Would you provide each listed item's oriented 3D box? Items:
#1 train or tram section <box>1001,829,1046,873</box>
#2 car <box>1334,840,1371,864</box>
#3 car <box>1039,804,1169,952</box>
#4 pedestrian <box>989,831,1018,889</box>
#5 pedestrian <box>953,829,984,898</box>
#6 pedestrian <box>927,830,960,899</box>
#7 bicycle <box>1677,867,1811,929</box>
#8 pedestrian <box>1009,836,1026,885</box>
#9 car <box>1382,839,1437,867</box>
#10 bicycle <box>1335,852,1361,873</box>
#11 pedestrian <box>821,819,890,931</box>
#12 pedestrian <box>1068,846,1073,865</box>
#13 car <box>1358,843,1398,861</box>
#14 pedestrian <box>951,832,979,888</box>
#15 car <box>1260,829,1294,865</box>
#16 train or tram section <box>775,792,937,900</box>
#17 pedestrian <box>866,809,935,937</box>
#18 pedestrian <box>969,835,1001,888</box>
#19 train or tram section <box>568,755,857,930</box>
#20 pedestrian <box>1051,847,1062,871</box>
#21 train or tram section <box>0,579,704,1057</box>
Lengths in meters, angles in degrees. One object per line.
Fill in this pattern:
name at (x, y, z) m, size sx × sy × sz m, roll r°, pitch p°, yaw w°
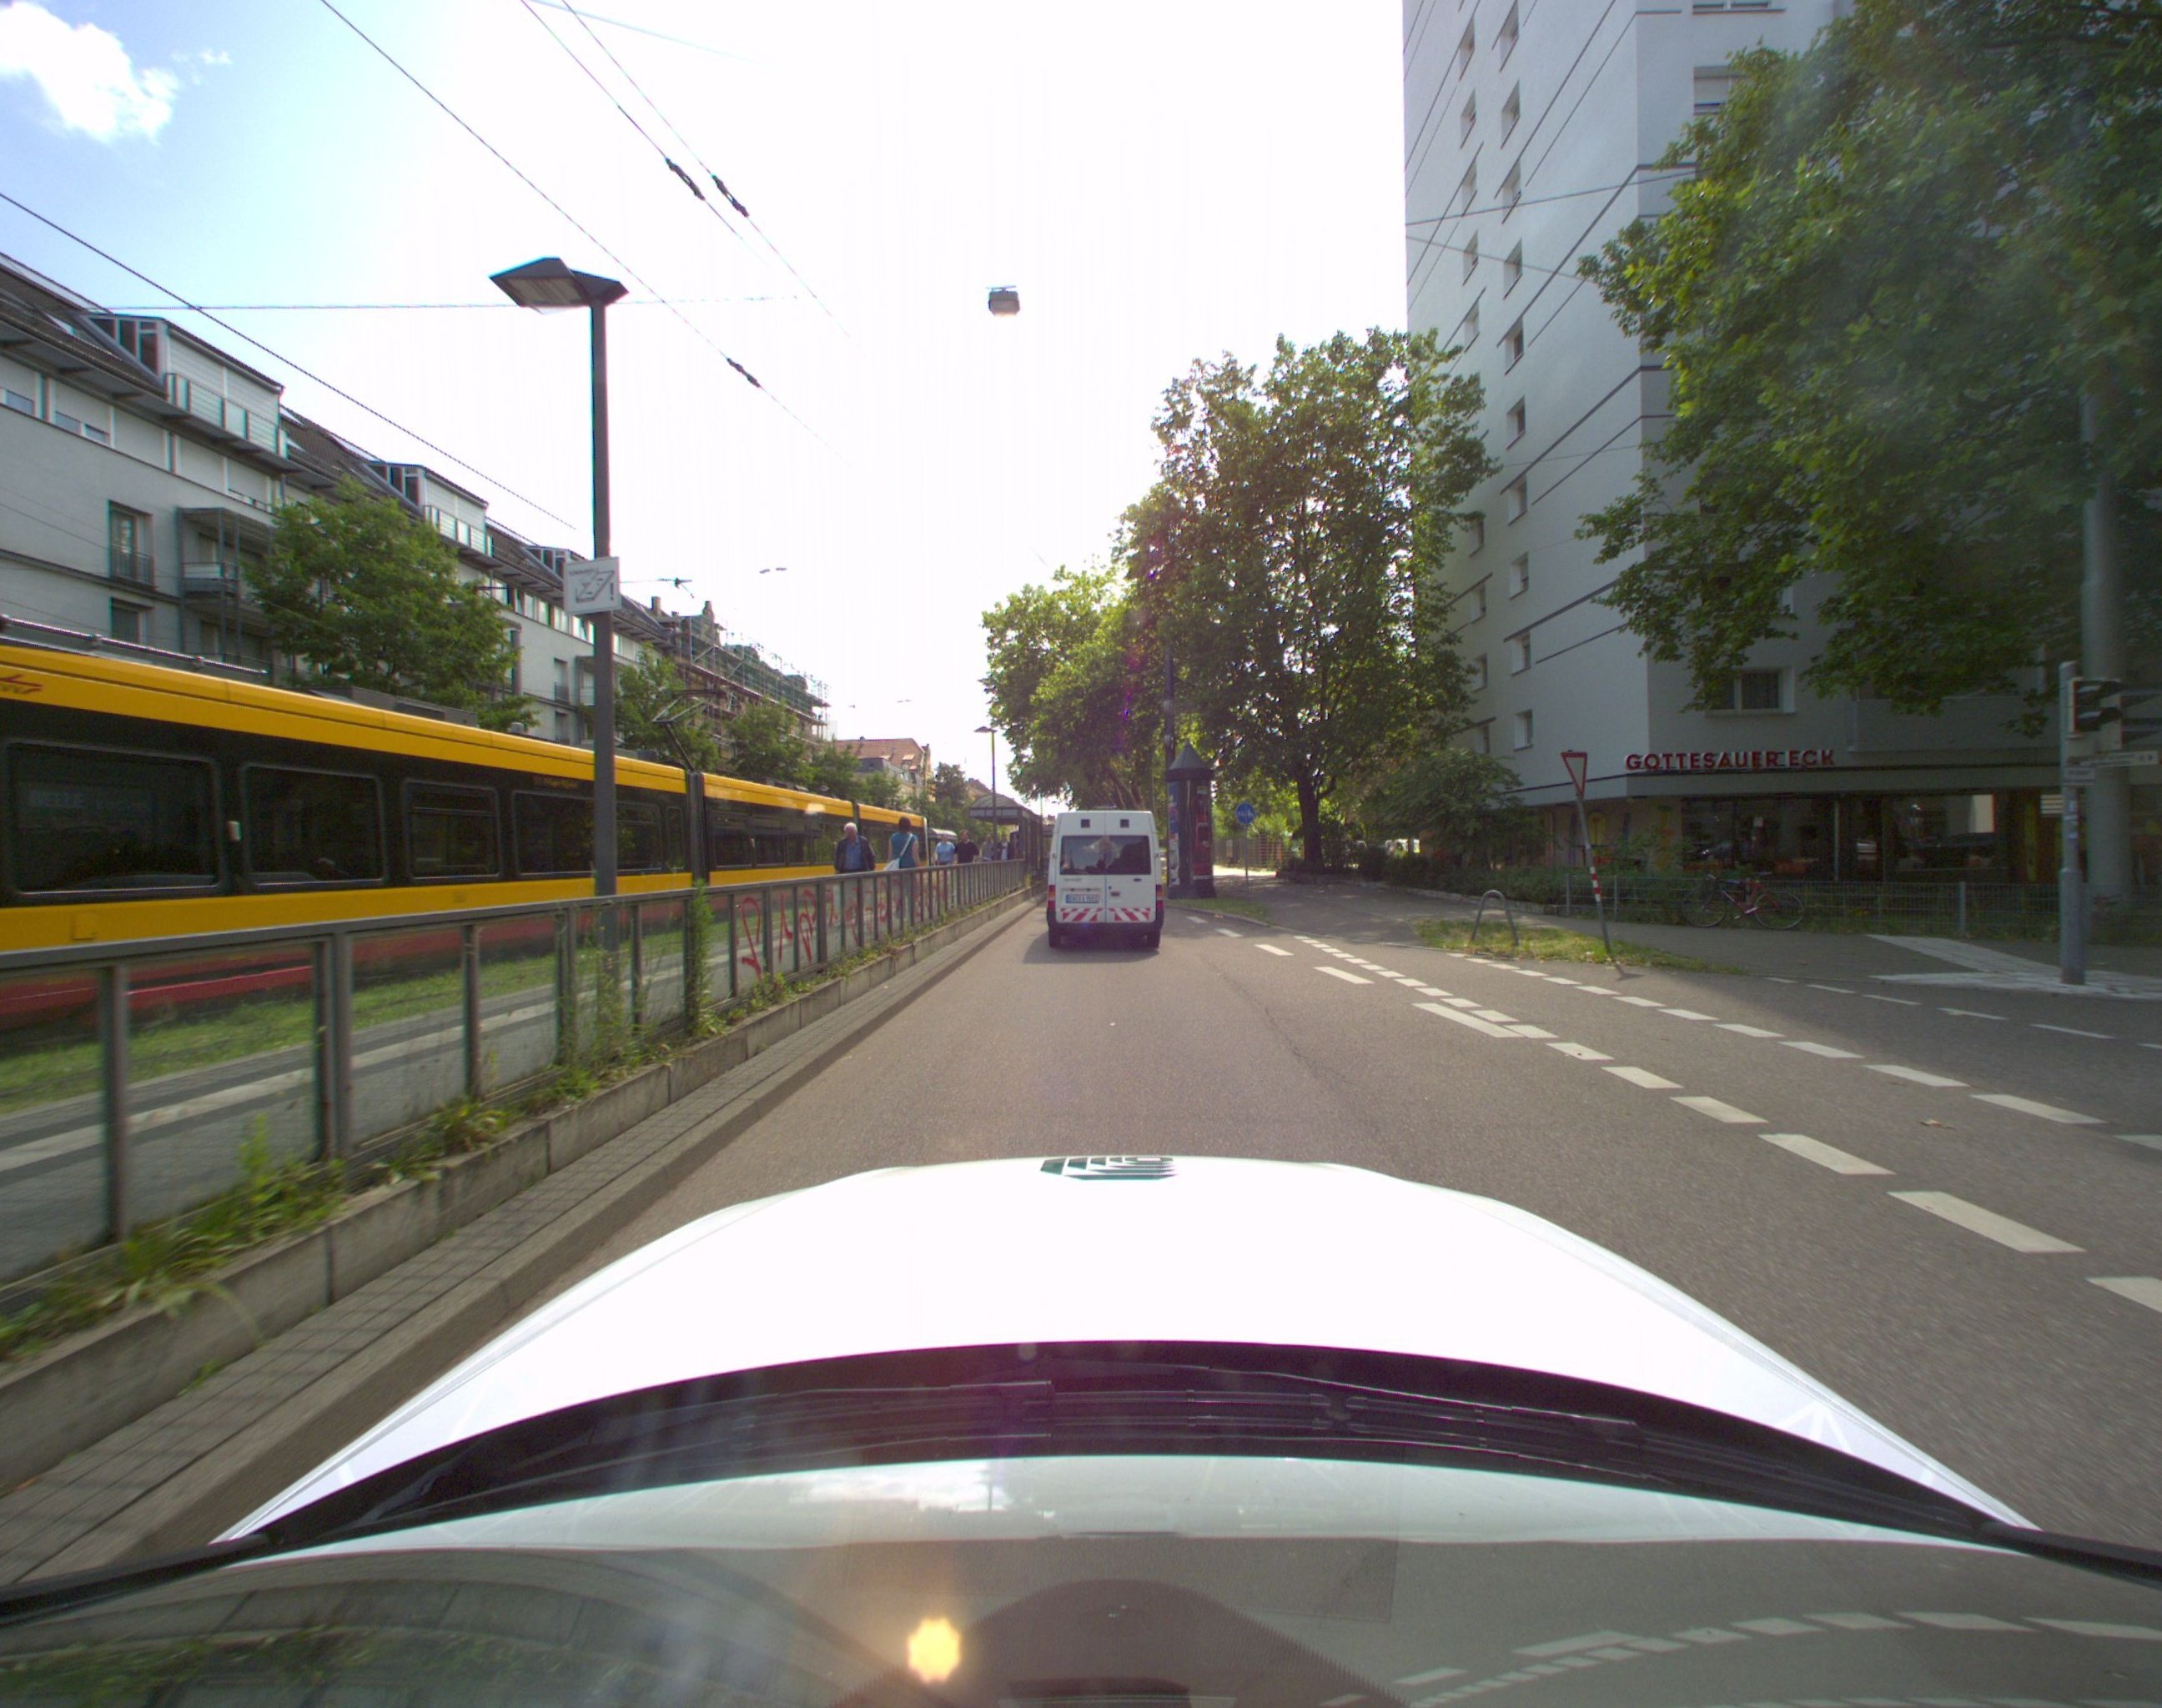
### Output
train or tram section at (-5.030, -0.293, 73.625) m, size 2.713 × 3.584 × 13.020 m, roll -1°, pitch 0°, yaw 2°
car at (21.846, -0.170, 65.661) m, size 1.799 × 1.815 × 4.343 m, roll -1°, pitch 0°, yaw 3°
car at (0.439, 0.370, 15.422) m, size 2.039 × 2.333 × 4.716 m, roll -1°, pitch 0°, yaw 2°
pedestrian at (-2.592, 0.199, 27.304) m, size 0.807 × 1.872 × 1.031 m, roll -1°, pitch 0°, yaw 1°
pedestrian at (-3.077, 0.249, 22.337) m, size 0.699 × 1.849 × 0.789 m, roll -1°, pitch 0°, yaw 0°
pedestrian at (-3.764, 0.283, 22.368) m, size 0.699 × 1.849 × 0.908 m, roll -1°, pitch 0°, yaw 1°
bicycle at (11.359, 0.736, 14.027) m, size 1.707 × 1.009 × 0.537 m, roll -1°, pitch 0°, yaw 28°
pedestrian at (-2.492, 0.248, 31.764) m, size 0.472 × 1.900 × 0.533 m, roll -1°, pitch 0°, yaw -23°
car at (21.691, -0.079, 53.972) m, size 1.731 × 1.755 × 4.771 m, roll -1°, pitch 0°, yaw 0°
bicycle at (14.560, 0.459, 44.441) m, size 0.605 × 1.073 × 1.834 m, roll -1°, pitch 0°, yaw -7°
pedestrian at (-3.703, 0.330, 13.438) m, size 0.854 × 1.775 × 0.877 m, roll -1°, pitch 0°, yaw 1°
pedestrian at (-0.866, 0.095, 68.175) m, size 0.384 × 1.591 × 0.439 m, roll -2°, pitch 0°, yaw 0°
car at (23.916, -0.157, 65.691) m, size 1.800 × 1.402 × 4.048 m, roll -1°, pitch 0°, yaw 1°
pedestrian at (-3.833, 0.198, 26.986) m, size 0.709 × 1.801 × 1.132 m, roll -1°, pitch 0°, yaw 1°
car at (16.123, -0.560, 67.071) m, size 1.800 × 2.774 × 4.280 m, roll -1°, pitch 0°, yaw 1°
train or tram section at (-8.690, -0.271, 33.782) m, size 2.713 × 3.584 × 13.020 m, roll -1°, pitch 0°, yaw 2°
pedestrian at (-2.766, 0.281, 12.544) m, size 0.824 × 1.899 × 0.847 m, roll -1°, pitch 0°, yaw 1°
pedestrian at (-3.361, 0.251, 28.538) m, size 0.883 × 1.801 × 1.495 m, roll -1°, pitch 0°, yaw 1°
train or tram section at (-9.069, -0.254, 22.065) m, size 2.785 × 3.584 × 10.407 m, roll -1°, pitch 0°, yaw 2°
pedestrian at (-1.627, 0.314, 53.339) m, size 0.673 × 1.515 × 0.596 m, roll -1°, pitch 0°, yaw 0°
train or tram section at (-9.392, -0.267, 10.315) m, size 2.797 × 3.584 × 13.020 m, roll -1°, pitch 0°, yaw 2°
